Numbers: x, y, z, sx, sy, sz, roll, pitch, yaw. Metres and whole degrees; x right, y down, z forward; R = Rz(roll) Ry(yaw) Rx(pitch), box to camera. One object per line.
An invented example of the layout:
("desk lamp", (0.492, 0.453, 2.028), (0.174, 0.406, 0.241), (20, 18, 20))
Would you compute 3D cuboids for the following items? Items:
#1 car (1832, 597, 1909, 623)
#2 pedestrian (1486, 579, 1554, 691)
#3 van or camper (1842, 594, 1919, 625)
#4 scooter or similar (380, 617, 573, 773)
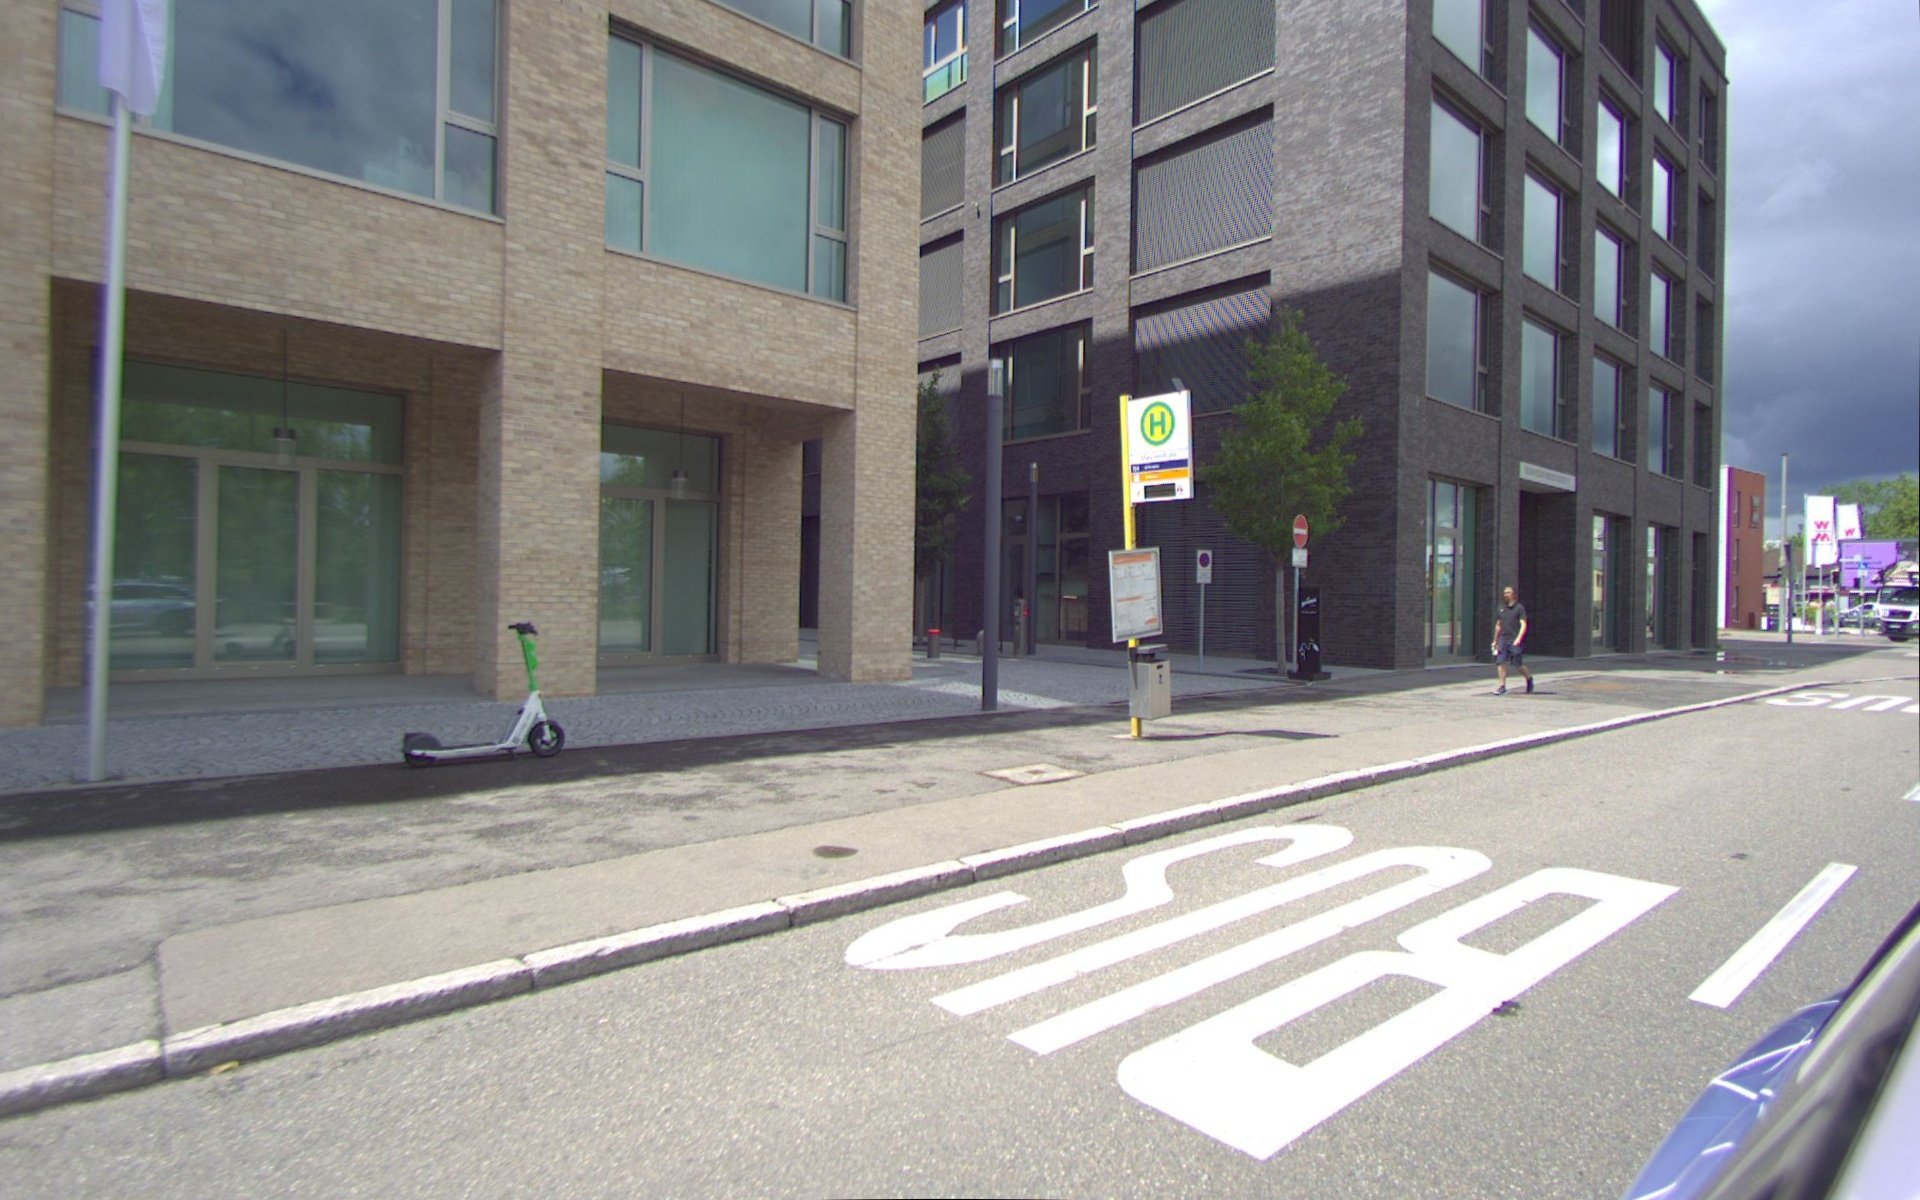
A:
("car", (64.228, 0.693, 71.407), (1.729, 1.503, 3.680), (0, 5, -37))
("pedestrian", (9.086, 0.546, 16.405), (0.945, 1.750, 0.684), (1, -1, -41))
("van or camper", (70.220, 0.684, 76.506), (2.172, 1.981, 4.912), (0, 4, -38))
("scooter or similar", (-4.000, 0.746, 8.428), (1.379, 1.167, 0.428), (0, 1, -41))
